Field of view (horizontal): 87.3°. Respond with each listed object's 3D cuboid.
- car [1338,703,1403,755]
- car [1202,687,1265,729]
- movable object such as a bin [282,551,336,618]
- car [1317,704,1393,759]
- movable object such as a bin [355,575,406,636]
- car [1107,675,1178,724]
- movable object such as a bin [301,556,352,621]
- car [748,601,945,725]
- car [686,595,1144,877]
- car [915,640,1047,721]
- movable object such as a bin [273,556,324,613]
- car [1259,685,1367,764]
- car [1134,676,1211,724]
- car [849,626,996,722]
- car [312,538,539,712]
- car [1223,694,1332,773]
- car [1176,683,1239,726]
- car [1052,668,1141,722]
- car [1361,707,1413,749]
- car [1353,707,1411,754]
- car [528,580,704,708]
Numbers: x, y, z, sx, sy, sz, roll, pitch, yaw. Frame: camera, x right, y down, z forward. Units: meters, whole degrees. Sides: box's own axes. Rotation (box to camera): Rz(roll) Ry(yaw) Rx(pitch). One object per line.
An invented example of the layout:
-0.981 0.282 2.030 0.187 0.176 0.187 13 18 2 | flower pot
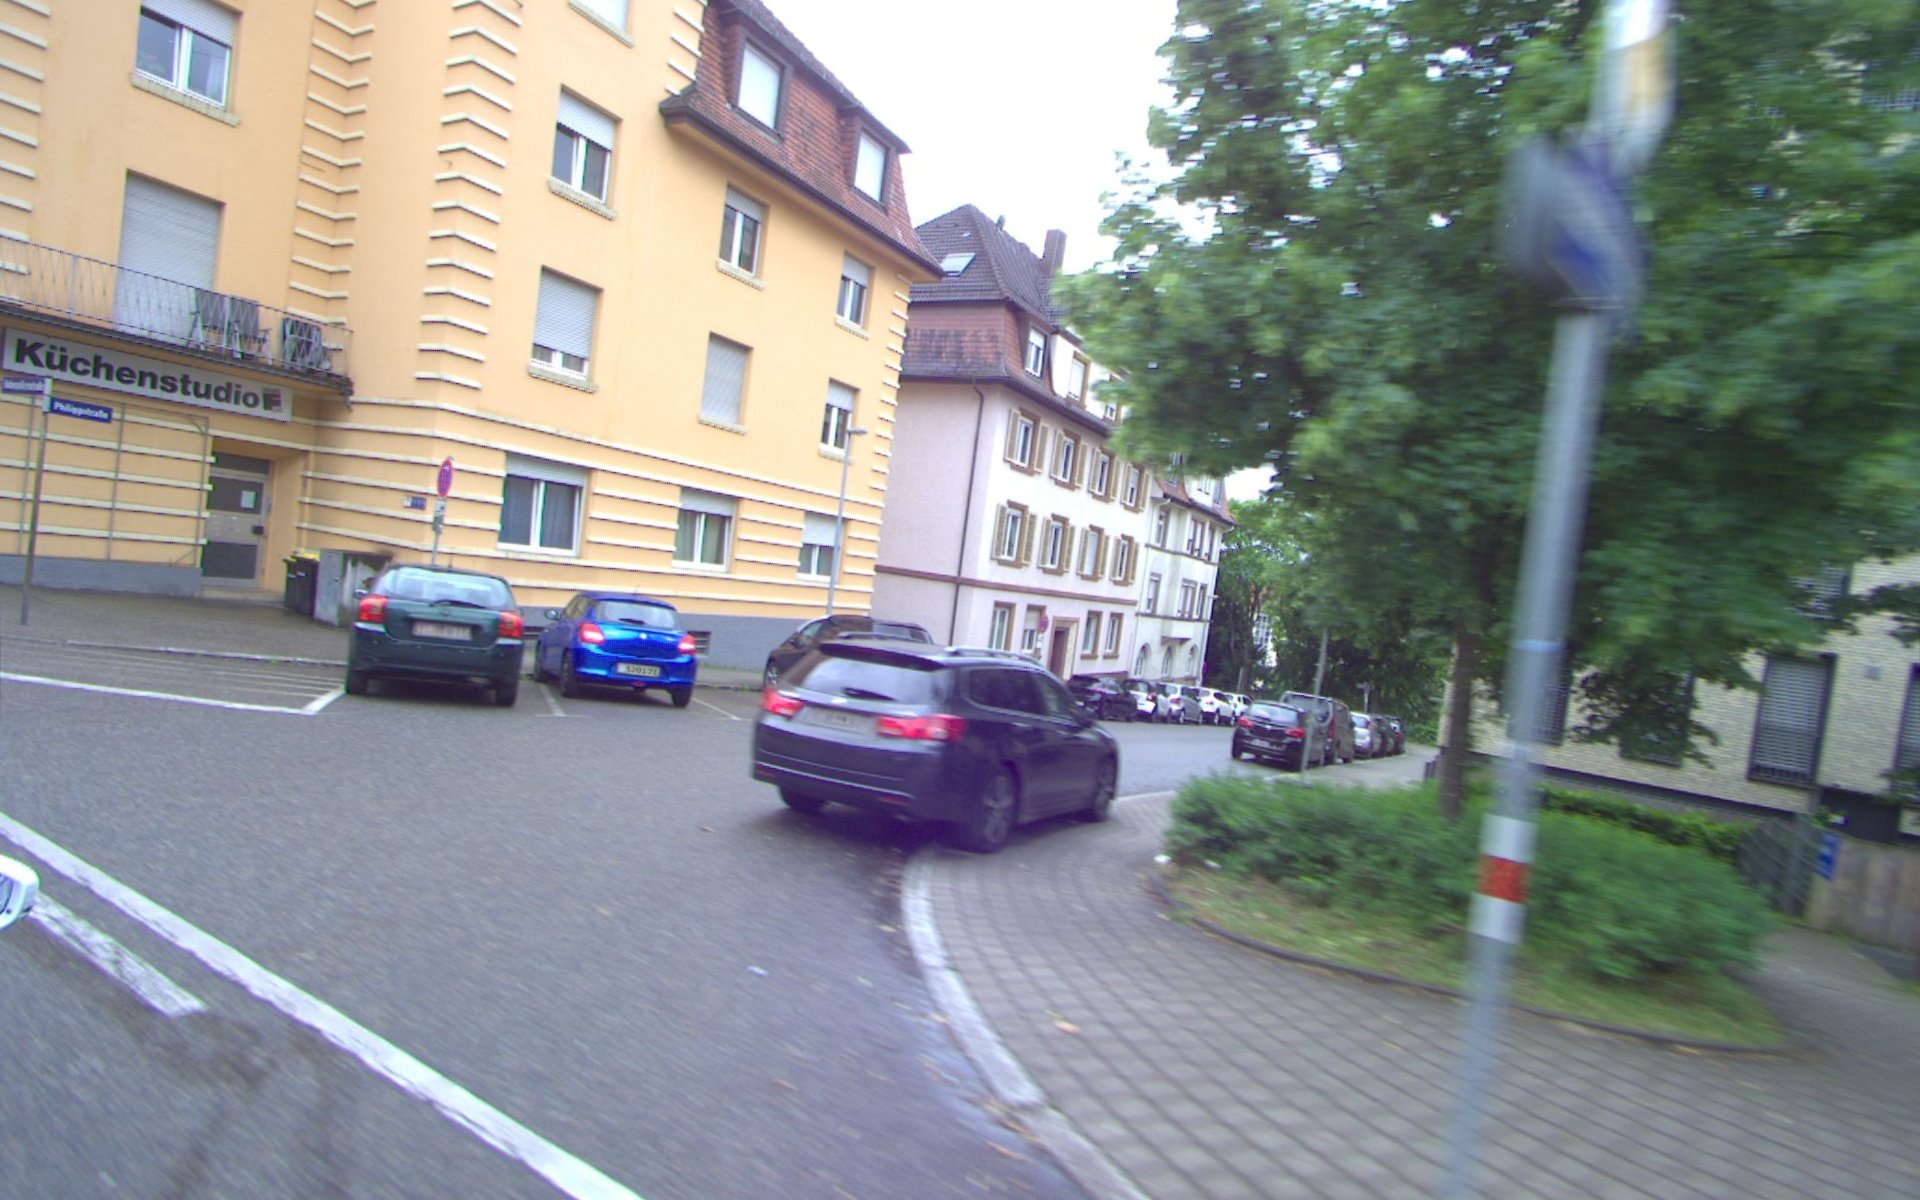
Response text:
16.459 5.151 40.228 1.849 1.614 4.078 9 -2 28 | car
13.747 5.433 50.422 1.663 1.655 3.804 9 -2 36 | car
-11.596 -0.276 17.914 0.504 1.069 0.506 12 2 31 | movable object such as a bin
14.192 4.717 36.004 1.710 1.554 4.075 9 -2 31 | car
-9.766 0.096 16.949 0.504 0.943 0.505 9 4 31 | movable object such as a bin
6.927 3.775 37.991 1.598 1.451 2.764 9 -2 31 | car
-11.053 -0.196 17.553 0.504 1.055 0.505 9 4 31 | movable object such as a bin
-2.342 1.143 19.545 1.694 1.744 4.496 8 -1 -35 | car
-0.043 1.057 8.602 1.967 1.515 4.283 8 -2 26 | car
0.431 1.933 24.645 1.687 1.488 3.589 5 1 -26 | car
-12.026 -0.279 18.304 0.504 0.930 0.506 9 0 31 | movable object such as a bin
10.122 3.536 28.635 1.935 1.727 4.334 9 -2 30 | car
8.872 4.189 41.777 1.796 1.552 3.860 9 -2 31 | car
-0.901 1.545 21.902 1.689 1.485 3.589 10 -1 -26 | car
-6.235 0.310 11.957 1.834 1.484 4.088 10 -5 -26 | car
7.689 3.186 24.168 1.747 1.441 3.529 9 -2 28 | car
11.339 4.799 45.996 1.545 1.545 3.824 9 -2 31 | car
4.659 3.237 33.895 1.585 1.404 3.527 9 -2 30 | car
21.358 6.393 50.230 1.849 1.665 4.078 9 -2 28 | car
18.764 5.772 44.627 1.849 1.665 4.078 9 -2 28 | car
-5.138 0.611 14.740 1.690 1.508 3.613 8 -4 -29 | car
